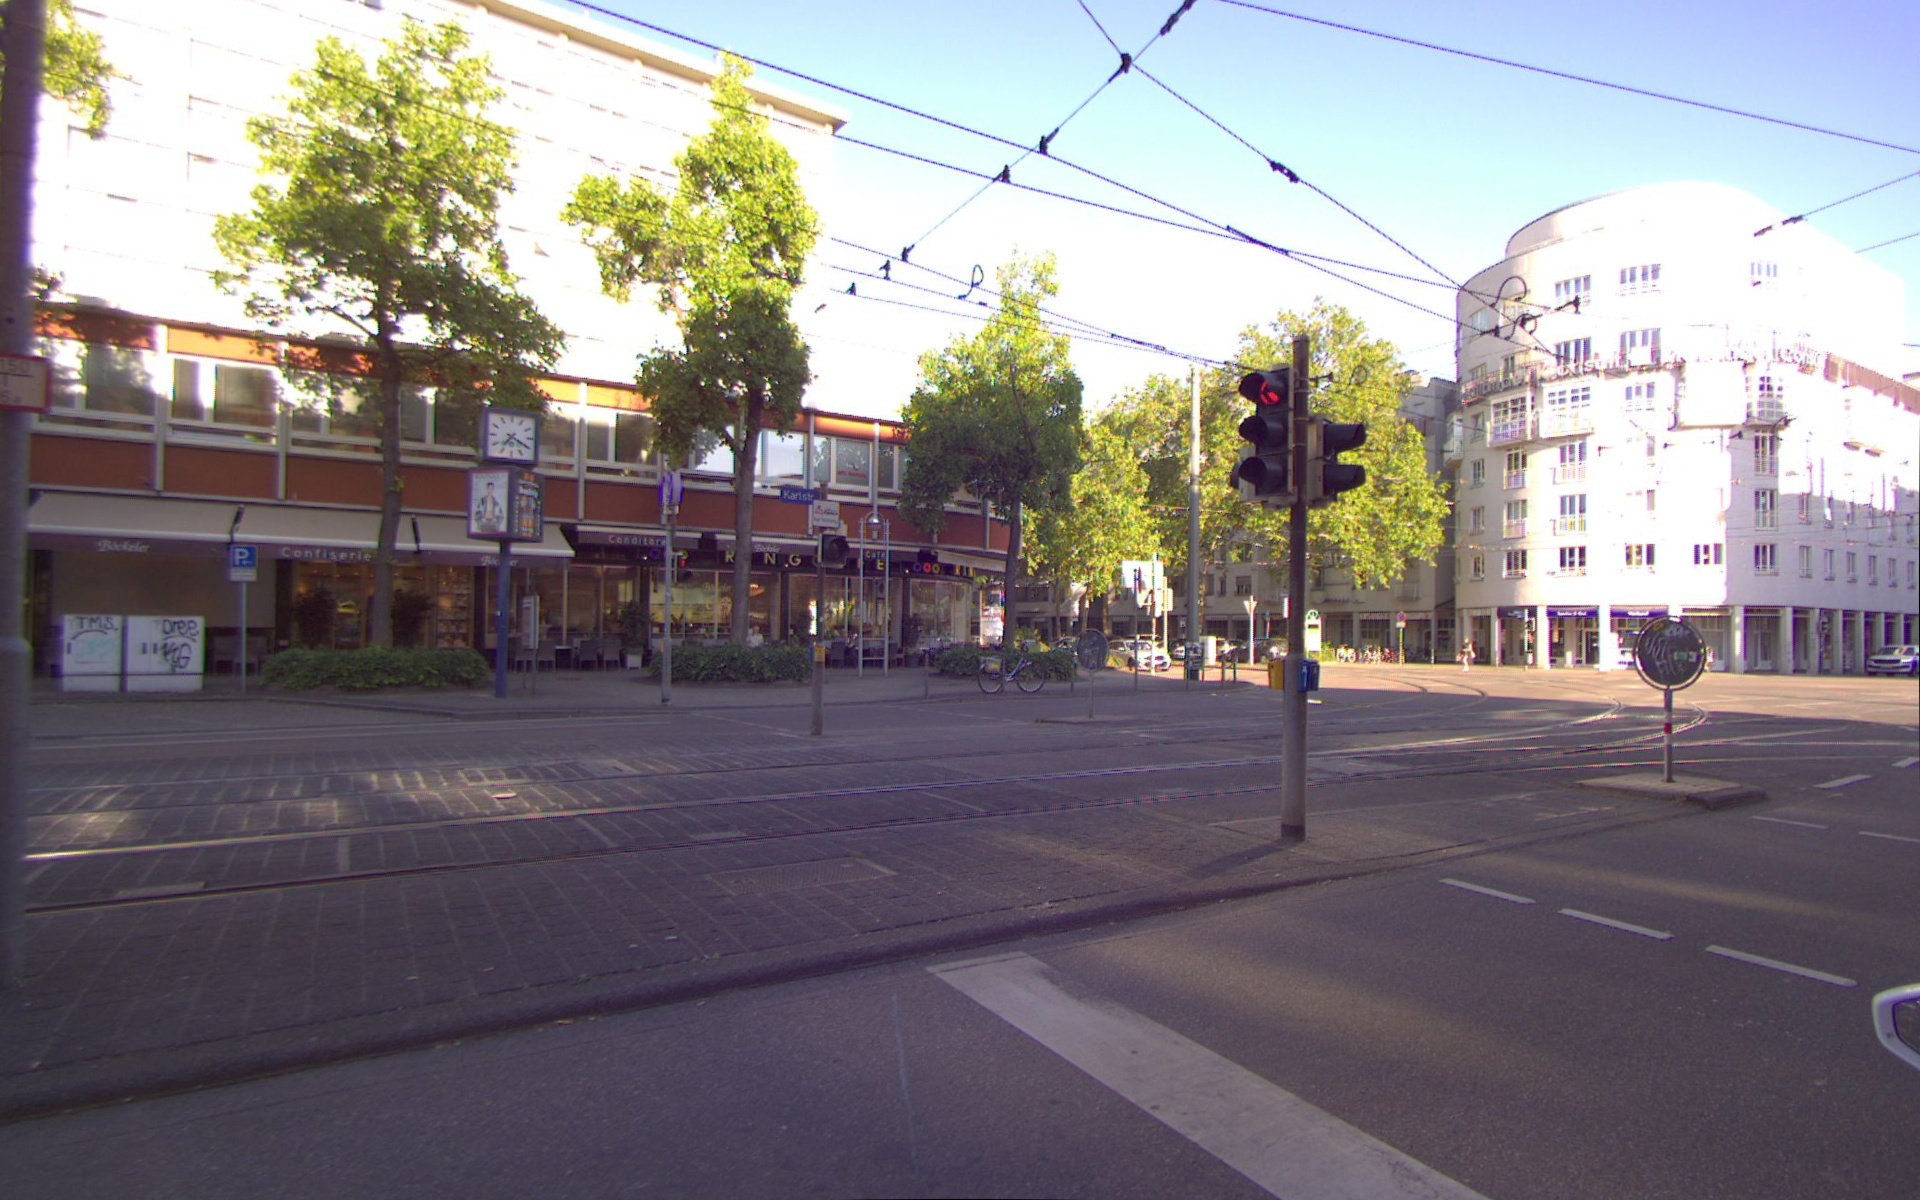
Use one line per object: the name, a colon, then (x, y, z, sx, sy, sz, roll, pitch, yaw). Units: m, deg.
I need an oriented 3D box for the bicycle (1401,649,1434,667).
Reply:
bicycle: (30.548, 3.855, 67.106, 0.809, 1.122, 1.934, 1, -2, -28)

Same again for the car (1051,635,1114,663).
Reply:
car: (6.509, 2.618, 53.860, 1.859, 1.439, 4.444, 1, -3, -15)

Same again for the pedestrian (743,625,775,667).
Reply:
pedestrian: (-6.207, 1.411, 30.955, 0.892, 1.279, 0.838, 1, -2, -16)

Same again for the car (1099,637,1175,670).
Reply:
car: (8.205, 2.505, 46.976, 1.859, 1.439, 4.444, 1, -3, -15)

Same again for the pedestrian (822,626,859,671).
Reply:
pedestrian: (-3.863, 1.562, 32.493, 0.880, 1.414, 0.930, 1, -2, -30)

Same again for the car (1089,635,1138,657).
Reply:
car: (12.819, 3.841, 83.852, 3.958, 1.738, 1.784, 2, -2, -34)

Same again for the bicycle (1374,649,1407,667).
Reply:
bicycle: (28.014, 3.791, 65.399, 0.808, 1.122, 1.935, 1, -2, -26)

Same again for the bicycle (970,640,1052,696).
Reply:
bicycle: (1.190, 1.577, 23.356, 1.832, 1.251, 0.579, 1, -1, -27)

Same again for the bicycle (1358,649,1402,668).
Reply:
bicycle: (26.835, 3.736, 64.194, 0.932, 1.122, 2.411, 2, -3, -45)

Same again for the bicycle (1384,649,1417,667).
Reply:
bicycle: (28.882, 3.810, 65.849, 0.808, 1.122, 1.935, 1, -2, -26)

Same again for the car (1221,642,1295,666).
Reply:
car: (18.580, 3.361, 62.812, 1.867, 1.439, 4.426, 1, -3, -27)

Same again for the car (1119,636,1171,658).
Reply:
car: (14.558, 3.701, 79.050, 3.958, 1.738, 1.784, 2, -2, -34)

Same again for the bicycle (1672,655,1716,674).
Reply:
bicycle: (37.562, 3.300, 51.403, 2.235, 0.939, 0.838, 1, -2, -26)

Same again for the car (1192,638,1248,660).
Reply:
car: (19.048, 3.596, 73.478, 3.958, 1.530, 1.784, 2, -3, -34)

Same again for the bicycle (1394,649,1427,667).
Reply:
bicycle: (29.858, 3.836, 66.588, 0.809, 1.122, 1.934, 1, -2, -28)

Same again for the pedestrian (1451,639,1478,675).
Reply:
pedestrian: (24.186, 2.723, 48.140, 0.687, 1.704, 0.866, -1, -2, -23)

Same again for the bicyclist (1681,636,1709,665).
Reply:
bicyclist: (37.634, 2.578, 51.455, 0.884, 1.486, 0.838, 1, -2, -26)

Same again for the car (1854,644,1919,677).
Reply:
car: (49.139, 3.167, 52.840, 4.461, 1.641, 1.983, 2, -3, -33)

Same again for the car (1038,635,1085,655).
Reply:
car: (9.101, 4.023, 89.674, 3.958, 1.738, 1.784, 2, -2, -34)
